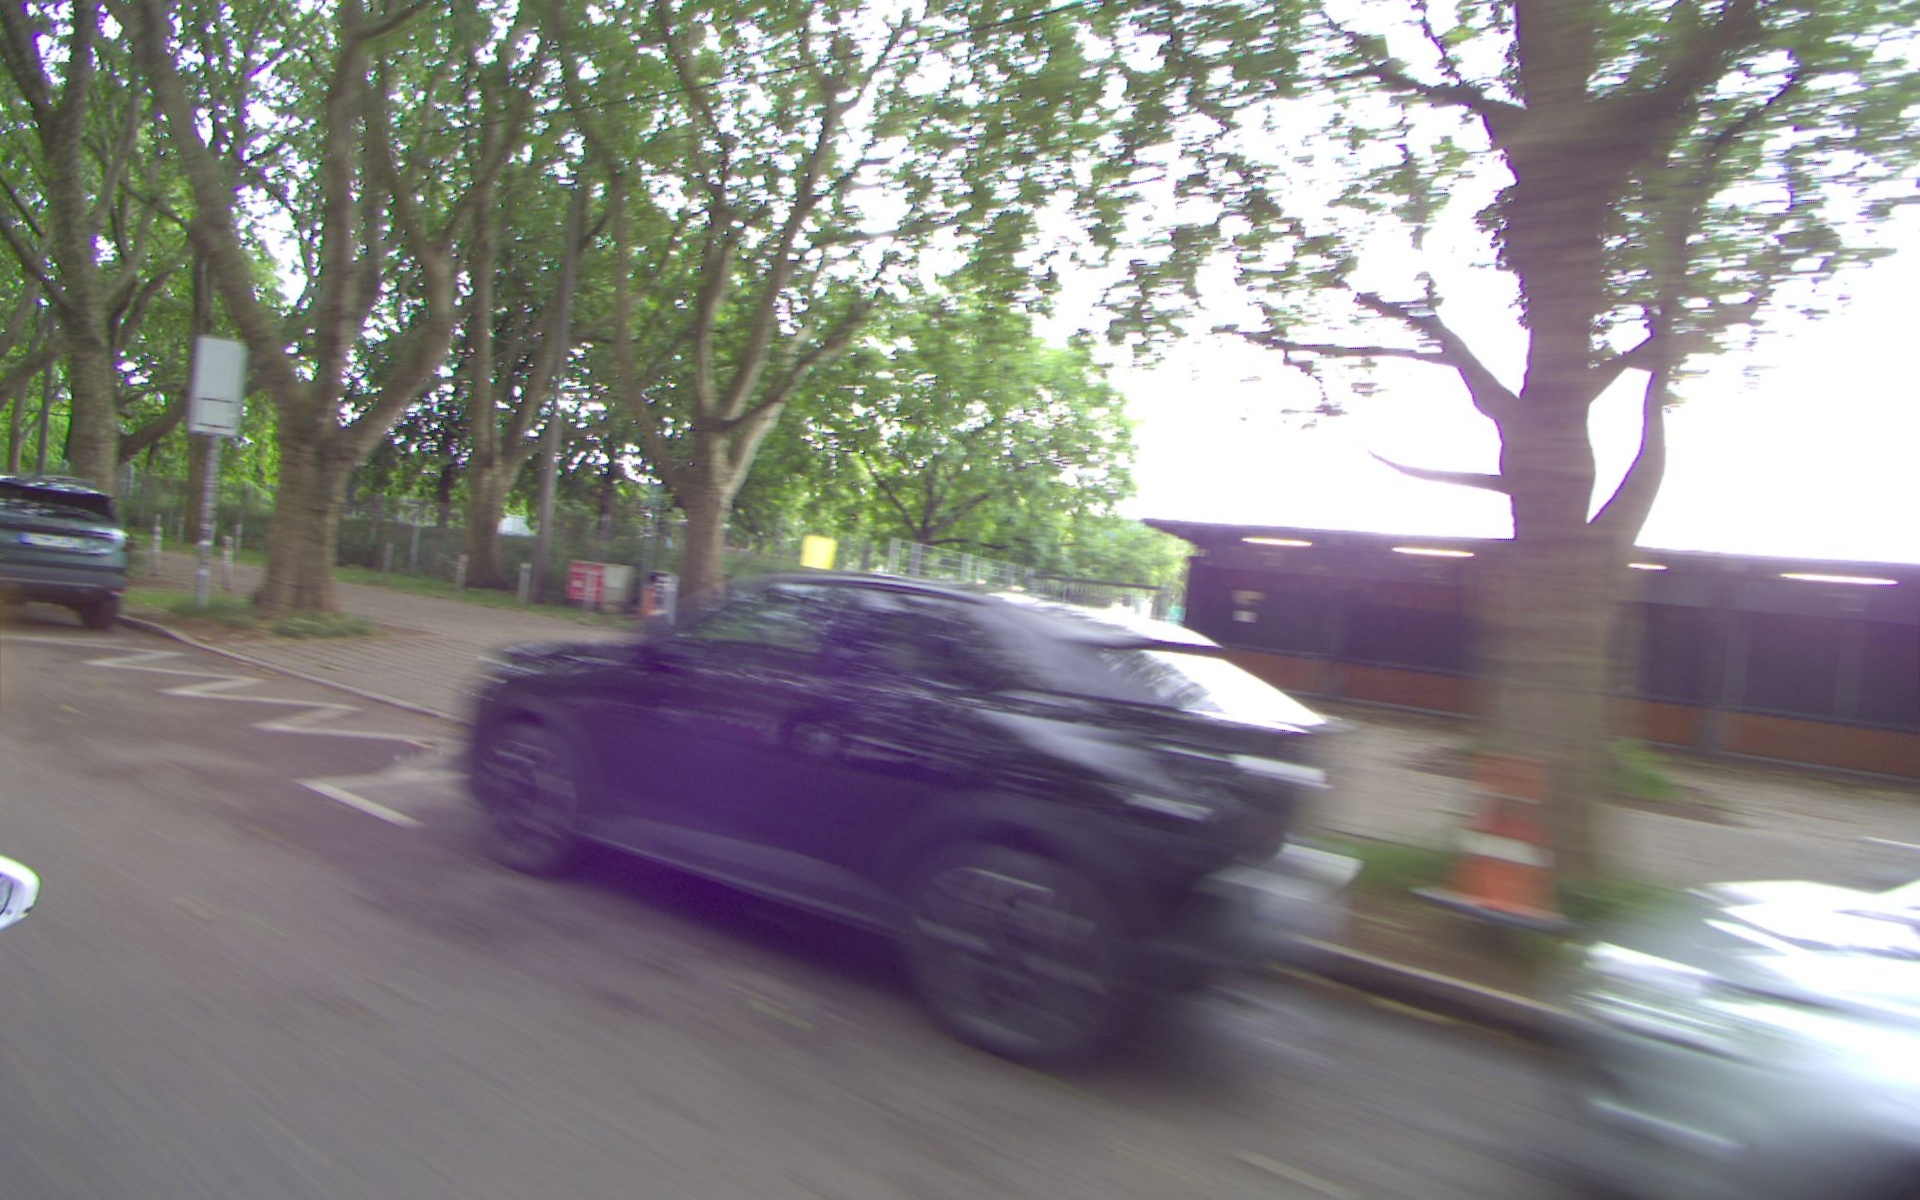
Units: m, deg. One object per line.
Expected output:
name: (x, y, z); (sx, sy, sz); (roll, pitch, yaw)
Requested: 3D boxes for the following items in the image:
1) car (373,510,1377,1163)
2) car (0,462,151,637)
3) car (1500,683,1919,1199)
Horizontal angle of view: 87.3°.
car: (-0.626, 0.653, 4.895); (4.560, 1.694, 1.780); (7, 0, 31)
car: (-11.608, -0.744, 11.763); (4.552, 1.718, 1.711); (7, -1, 30)
car: (3.420, 1.201, 2.299); (3.649, 1.458, 1.619); (7, -2, 33)
